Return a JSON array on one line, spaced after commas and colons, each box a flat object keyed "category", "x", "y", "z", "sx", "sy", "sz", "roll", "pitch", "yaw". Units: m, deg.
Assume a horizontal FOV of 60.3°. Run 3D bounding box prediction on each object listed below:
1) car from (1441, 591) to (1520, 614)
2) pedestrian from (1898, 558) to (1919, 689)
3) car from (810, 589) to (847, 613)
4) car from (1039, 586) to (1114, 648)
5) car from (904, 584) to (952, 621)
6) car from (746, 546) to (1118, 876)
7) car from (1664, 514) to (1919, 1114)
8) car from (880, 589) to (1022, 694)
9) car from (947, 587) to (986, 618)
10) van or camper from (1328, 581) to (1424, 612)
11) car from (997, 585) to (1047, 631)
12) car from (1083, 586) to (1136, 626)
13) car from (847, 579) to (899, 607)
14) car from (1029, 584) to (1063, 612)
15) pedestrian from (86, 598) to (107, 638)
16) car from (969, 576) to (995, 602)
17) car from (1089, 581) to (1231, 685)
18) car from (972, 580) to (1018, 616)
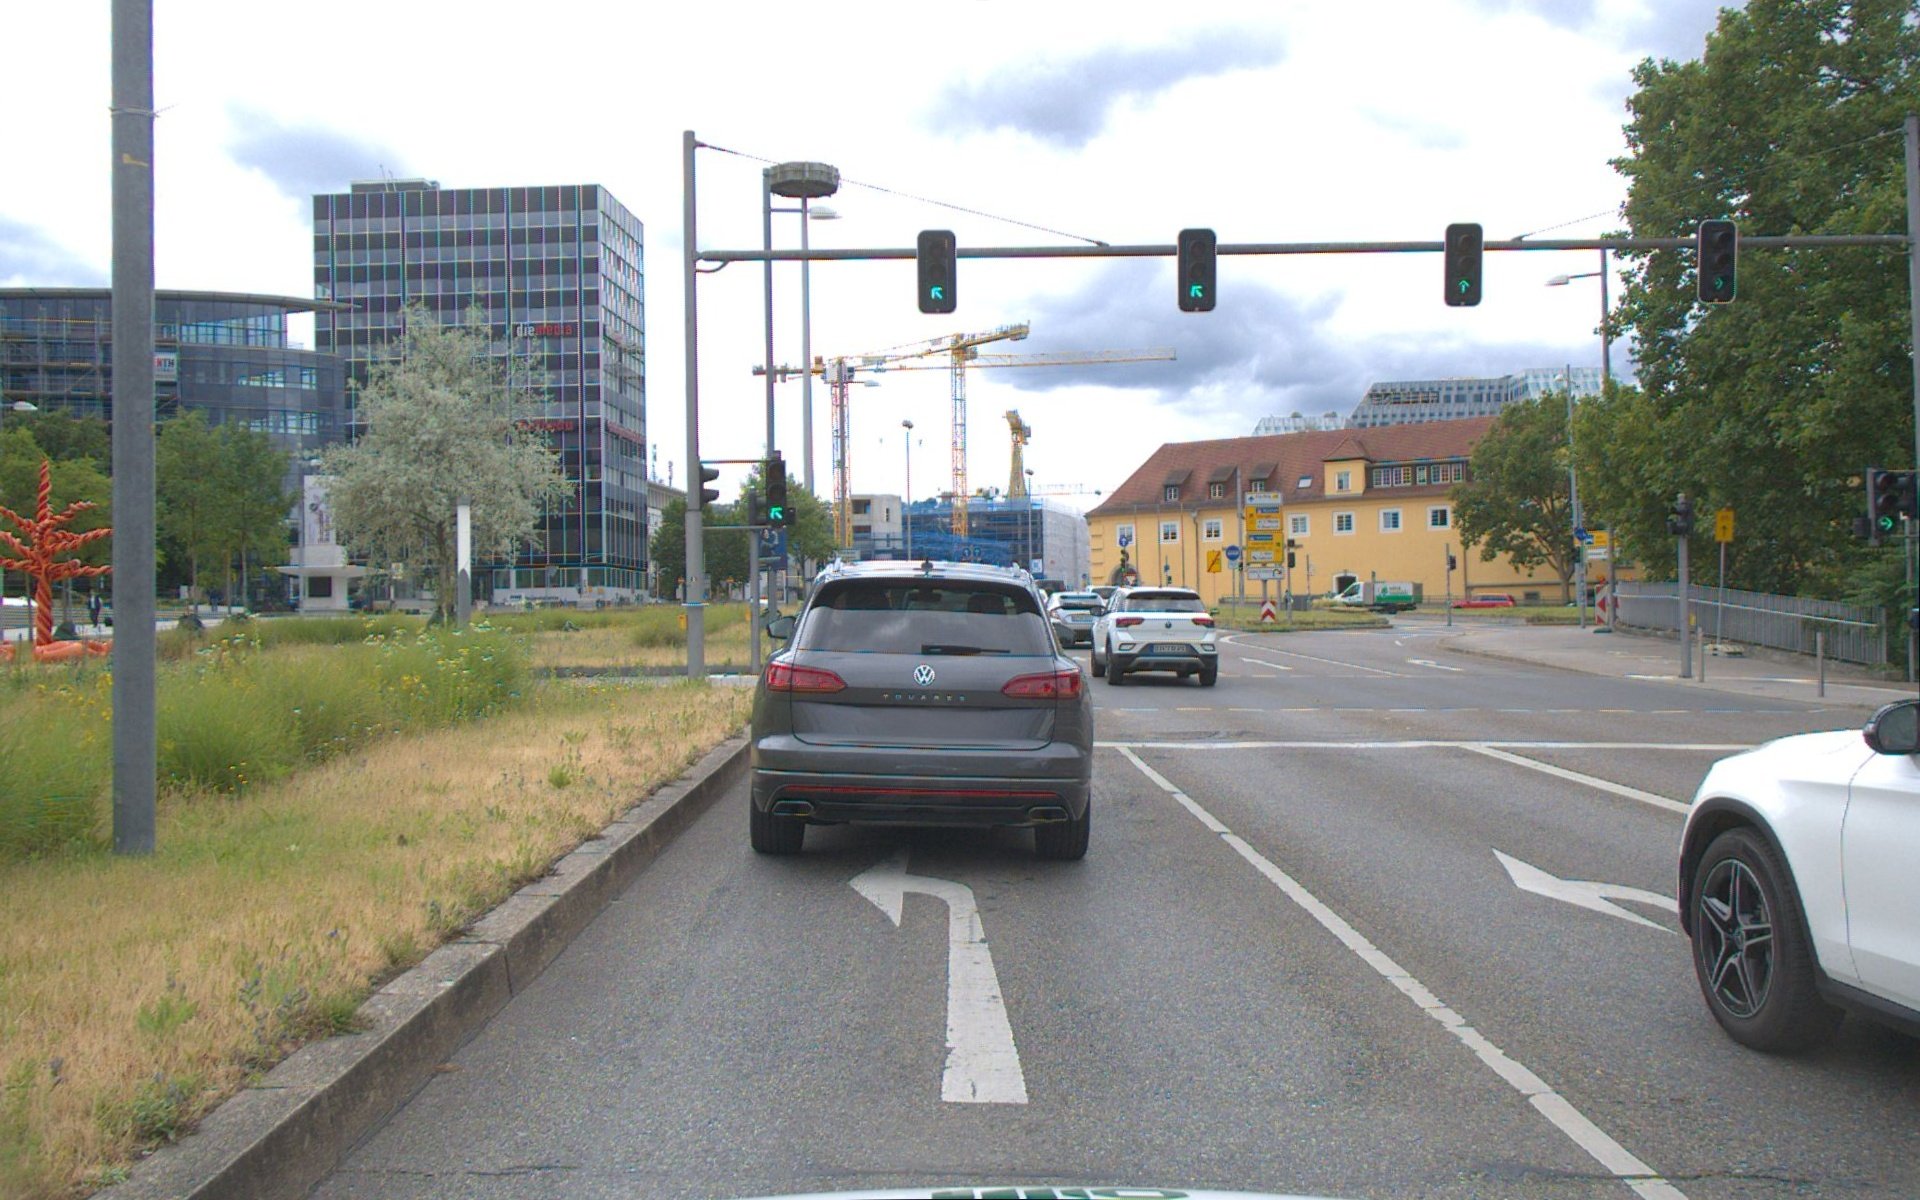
[{"category": "car", "x": 33.629, "y": 0.164, "z": 106.896, "sx": 4.592, "sy": 1.445, "sz": 1.593, "roll": 0, "pitch": 0, "yaw": 31}, {"category": "pedestrian", "x": 13.411, "y": 0.323, "z": 22.909, "sx": 0.469, "sy": 1.795, "sz": 0.620, "roll": 0, "pitch": 0, "yaw": -4}, {"category": "car", "x": -8.453, "y": 0.057, "z": 105.959, "sx": 1.690, "sy": 1.529, "sz": 3.965, "roll": 0, "pitch": 0, "yaw": -15}, {"category": "car", "x": 3.002, "y": 0.409, "z": 43.283, "sx": 1.683, "sy": 1.529, "sz": 4.144, "roll": 0, "pitch": 1, "yaw": 0}, {"category": "car", "x": -1.391, "y": 0.083, "z": 69.668, "sx": 1.779, "sy": 1.522, "sz": 3.902, "roll": 0, "pitch": 1, "yaw": -5}, {"category": "car", "x": -0.172, "y": 0.545, "z": 10.432, "sx": 1.893, "sy": 1.676, "sz": 3.999, "roll": 0, "pitch": 1, "yaw": -1}, {"category": "car", "x": 3.589, "y": 0.602, "z": 4.046, "sx": 1.782, "sy": 1.676, "sz": 4.377, "roll": 0, "pitch": 1, "yaw": -2}, {"category": "car", "x": -0.156, "y": 0.563, "z": 24.992, "sx": 1.953, "sy": 1.411, "sz": 3.999, "roll": 0, "pitch": 1, "yaw": -1}, {"category": "car", "x": 0.355, "y": 0.144, "z": 94.964, "sx": 2.096, "sy": 1.758, "sz": 4.069, "roll": 0, "pitch": 0, "yaw": -1}, {"category": "van or camper", "x": 27.848, "y": -0.225, "z": 110.754, "sx": 5.902, "sy": 2.049, "sz": 2.013, "roll": 0, "pitch": 0, "yaw": 35}, {"category": "car", "x": 2.157, "y": 0.256, "z": 57.735, "sx": 1.683, "sy": 1.529, "sz": 3.982, "roll": 0, "pitch": 1, "yaw": 2}, {"category": "car", "x": 5.959, "y": 0.220, "z": 66.208, "sx": 1.766, "sy": 1.529, "sz": 3.981, "roll": 0, "pitch": 1, "yaw": 0}, {"category": "car", "x": -5.031, "y": -0.407, "z": 95.023, "sx": 2.206, "sy": 1.529, "sz": 4.596, "roll": 0, "pitch": 1, "yaw": -13}, {"category": "car", "x": 4.687, "y": -0.122, "z": 90.509, "sx": 1.683, "sy": 1.529, "sz": 3.981, "roll": 0, "pitch": 1, "yaw": 0}, {"category": "pedestrian", "x": -36.834, "y": 0.757, "z": 70.557, "sx": 0.513, "sy": 1.678, "sz": 0.650, "roll": 0, "pitch": 0, "yaw": -2}, {"category": "car", "x": 1.801, "y": -0.895, "z": 135.318, "sx": 1.953, "sy": 2.049, "sz": 3.999, "roll": 0, "pitch": 1, "yaw": -1}, {"category": "car", "x": 3.250, "y": 0.493, "z": 27.560, "sx": 1.855, "sy": 1.613, "sz": 3.800, "roll": 0, "pitch": 1, "yaw": -1}, {"category": "car", "x": 1.574, "y": -0.095, "z": 75.444, "sx": 1.778, "sy": 1.522, "sz": 3.904, "roll": -2, "pitch": 1, "yaw": -3}]
